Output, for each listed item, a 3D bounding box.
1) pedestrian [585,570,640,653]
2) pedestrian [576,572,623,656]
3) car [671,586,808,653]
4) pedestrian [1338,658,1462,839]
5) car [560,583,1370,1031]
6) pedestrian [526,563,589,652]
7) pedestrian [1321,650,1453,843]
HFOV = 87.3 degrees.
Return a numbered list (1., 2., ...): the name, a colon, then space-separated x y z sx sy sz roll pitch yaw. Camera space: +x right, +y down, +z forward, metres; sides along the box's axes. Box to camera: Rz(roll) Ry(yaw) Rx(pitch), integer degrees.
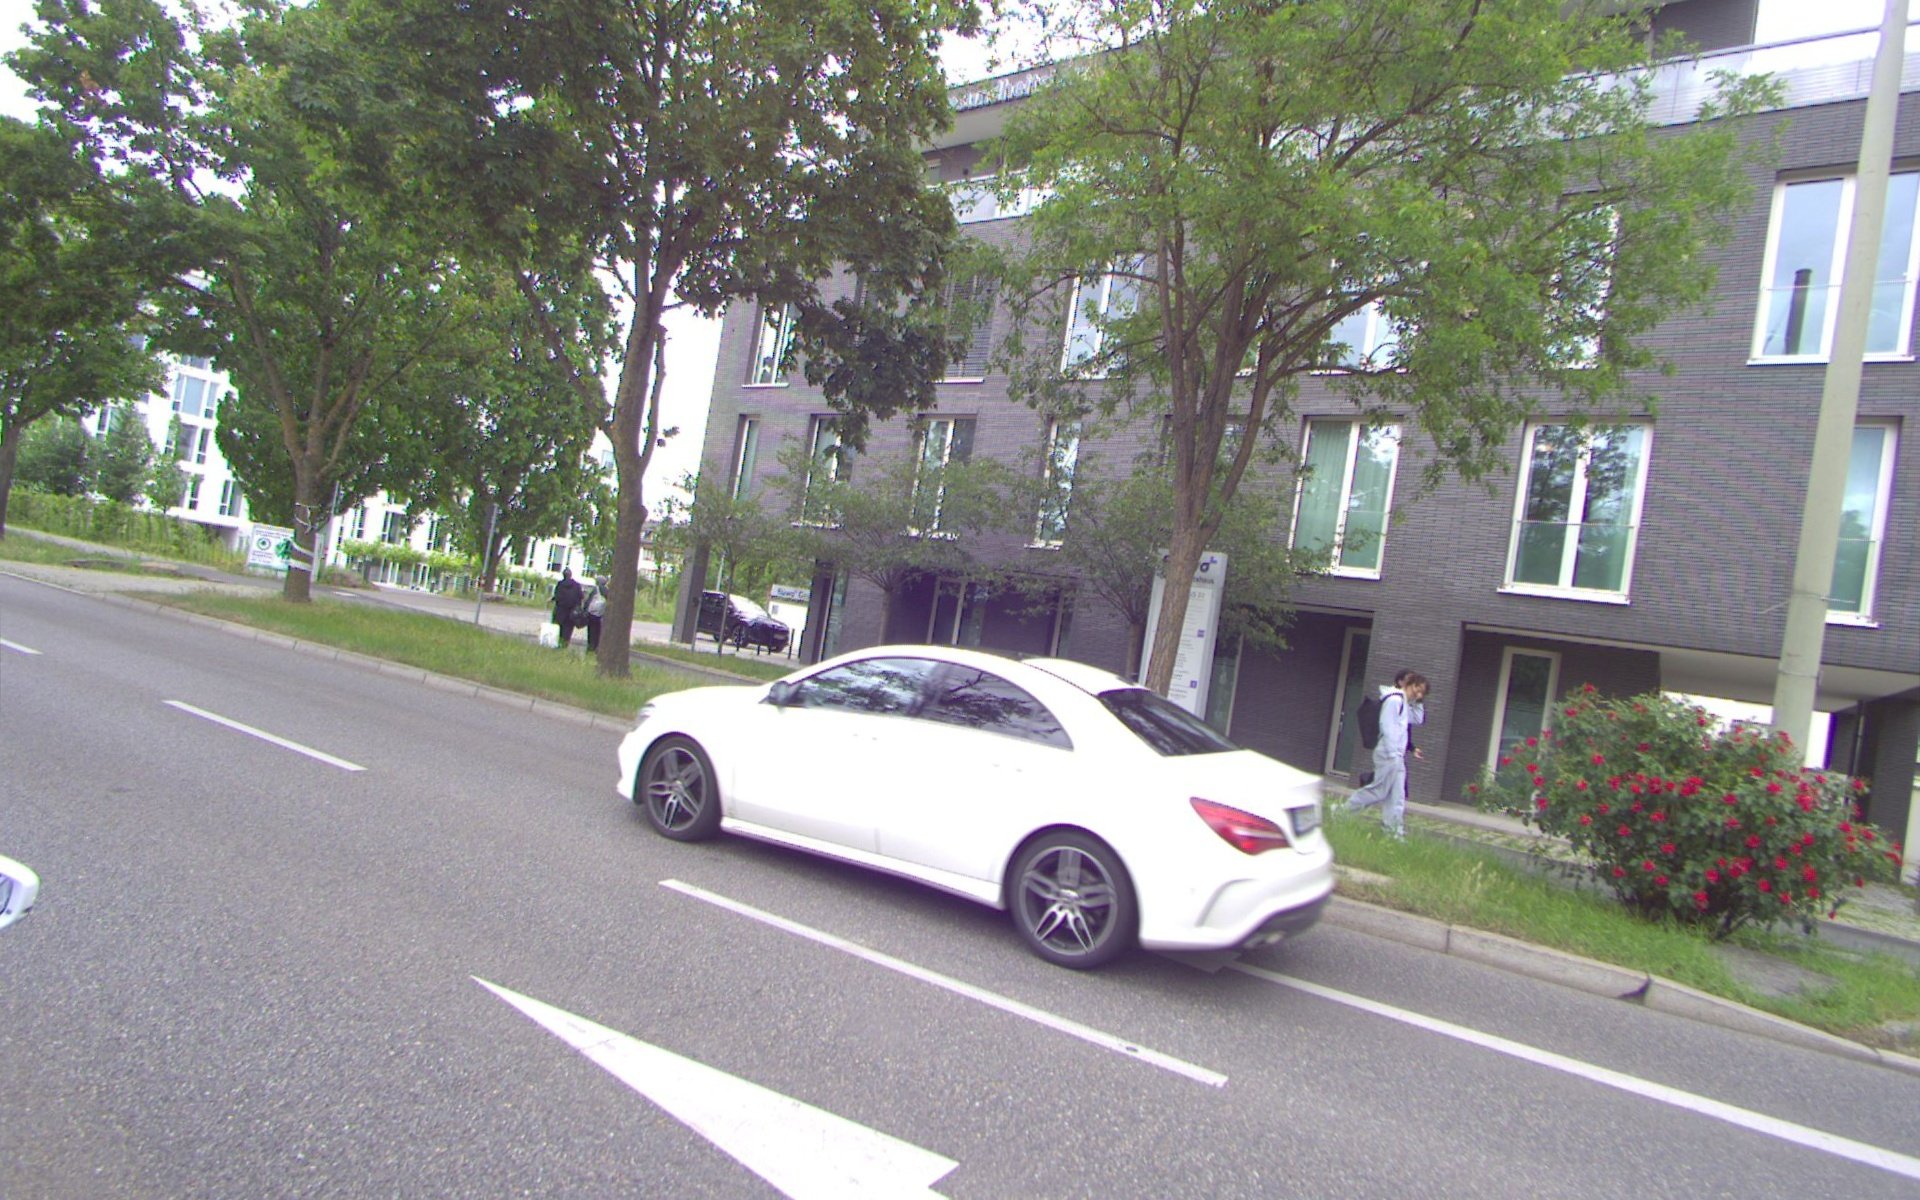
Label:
1. pedestrian: -6.972 0.229 20.186 0.732 1.571 0.589 7 1 37
2. pedestrian: -7.090 0.270 19.806 0.553 1.568 0.409 6 -4 37
3. car: -7.128 0.622 32.438 4.112 1.569 1.828 7 -2 34
4. pedestrian: 4.923 1.632 11.246 0.938 1.796 0.609 10 0 32
5. car: -0.165 0.942 6.201 4.623 1.489 1.797 6 -3 33
6. pedestrian: -7.692 0.145 19.225 0.578 1.570 0.726 7 -2 37
7. pedestrian: 4.487 1.515 10.574 0.938 1.796 0.609 10 0 32
